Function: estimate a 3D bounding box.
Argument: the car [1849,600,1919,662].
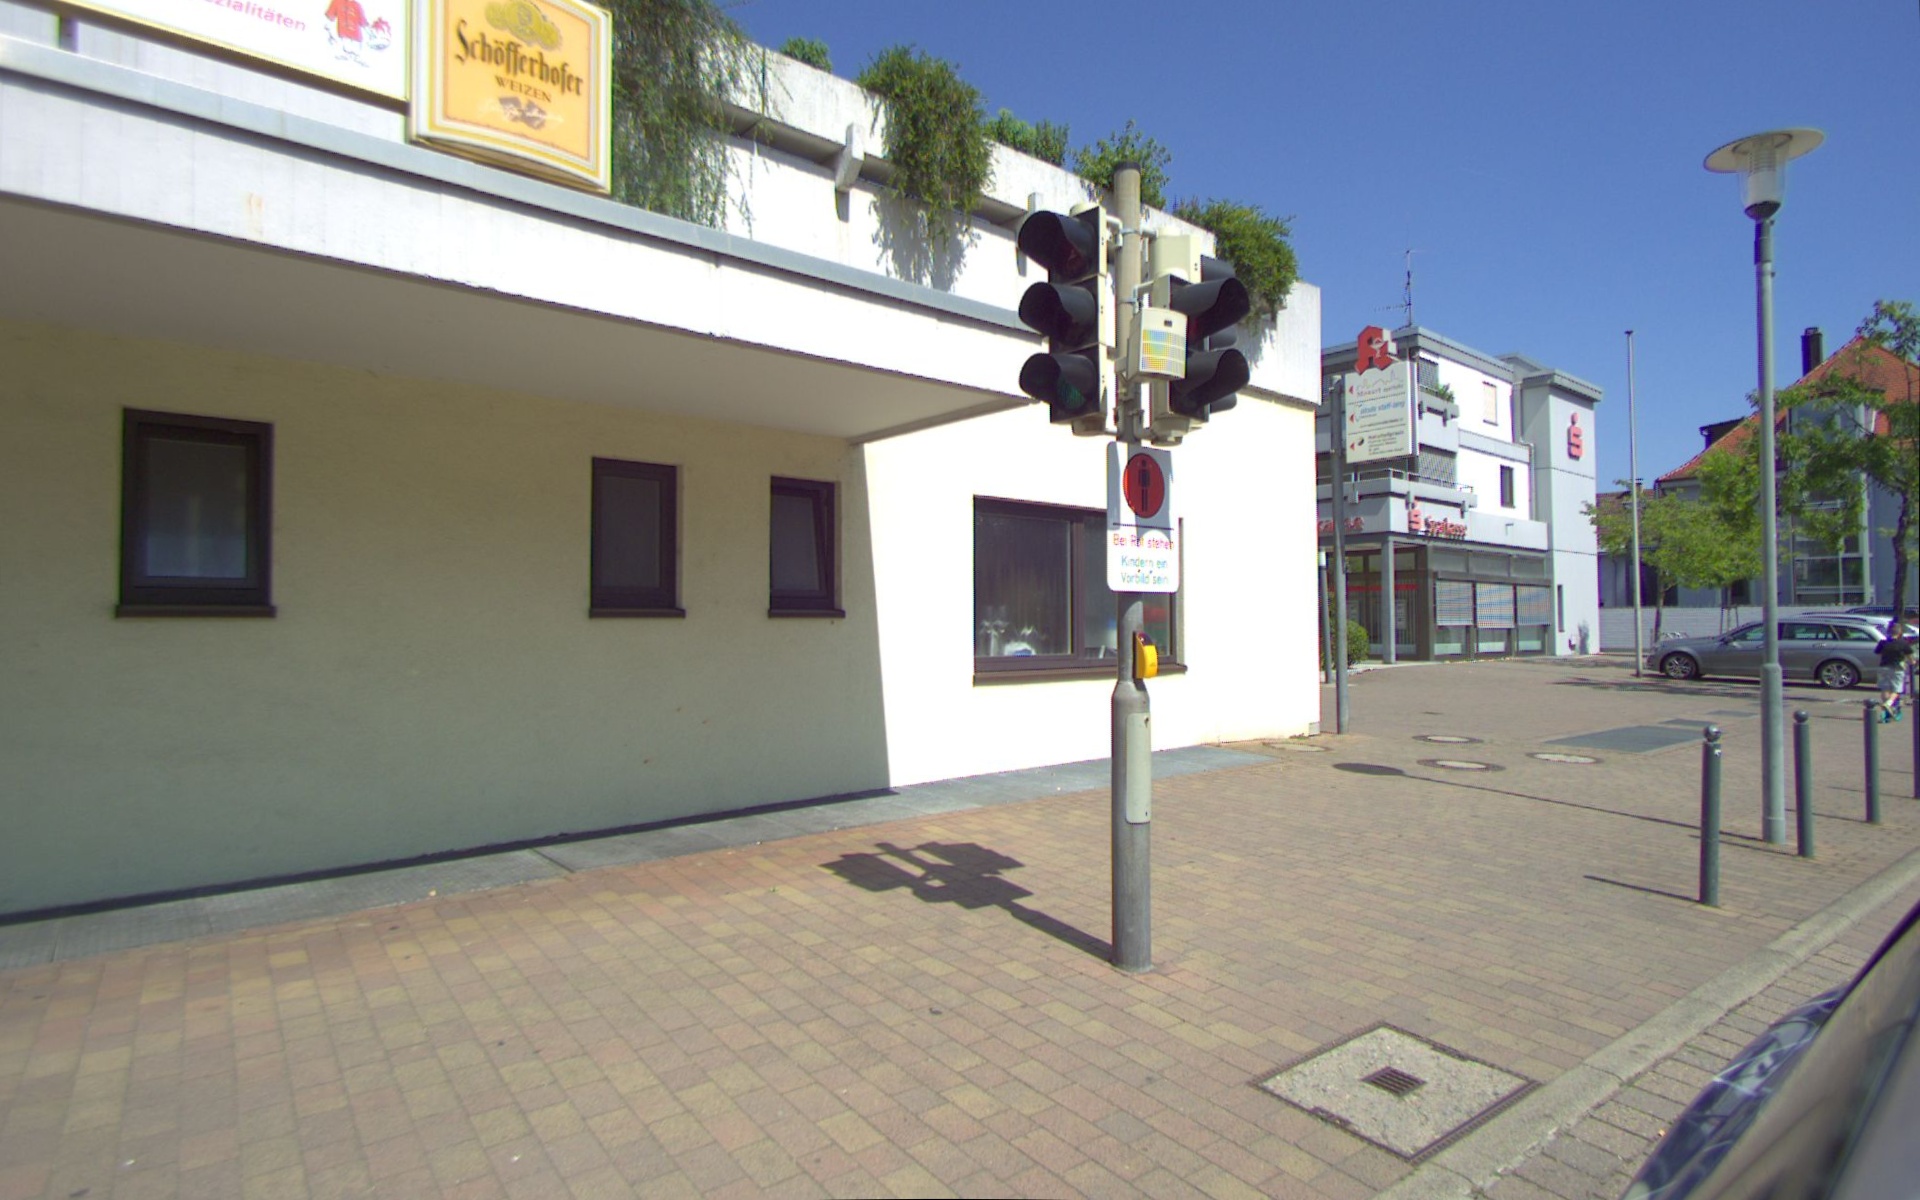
[{"bbox_3d":[28.149,0.906,29.663,1.322,1.759,3.036,1,0,-42],"label":"car"}]

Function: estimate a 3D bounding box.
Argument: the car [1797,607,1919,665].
[{"bbox_3d":[26.168,0.992,28.804,1.464,1.572,3.426,1,-1,-41],"label":"car"}]

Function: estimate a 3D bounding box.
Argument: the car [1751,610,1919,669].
[{"bbox_3d":[24.216,1.032,27.256,1.629,1.461,4.435,1,0,-44],"label":"car"}]

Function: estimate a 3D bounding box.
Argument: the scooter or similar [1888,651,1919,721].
[{"bbox_3d":[13.996,1.247,14.814,0.941,0.978,0.412,1,-2,-35],"label":"scooter or similar"}]

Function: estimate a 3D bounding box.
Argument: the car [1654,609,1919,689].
[{"bbox_3d":[18.034,0.977,22.162,1.662,1.484,4.438,0,1,-42],"label":"car"}]

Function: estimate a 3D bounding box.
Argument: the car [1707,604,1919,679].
[{"bbox_3d":[20.272,0.918,23.872,1.684,1.579,4.039,1,0,-43],"label":"car"}]

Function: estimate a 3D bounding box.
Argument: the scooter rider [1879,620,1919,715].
[{"bbox_3d":[13.946,0.964,14.836,1.111,1.342,0.463,1,-1,-36],"label":"scooter rider"}]
